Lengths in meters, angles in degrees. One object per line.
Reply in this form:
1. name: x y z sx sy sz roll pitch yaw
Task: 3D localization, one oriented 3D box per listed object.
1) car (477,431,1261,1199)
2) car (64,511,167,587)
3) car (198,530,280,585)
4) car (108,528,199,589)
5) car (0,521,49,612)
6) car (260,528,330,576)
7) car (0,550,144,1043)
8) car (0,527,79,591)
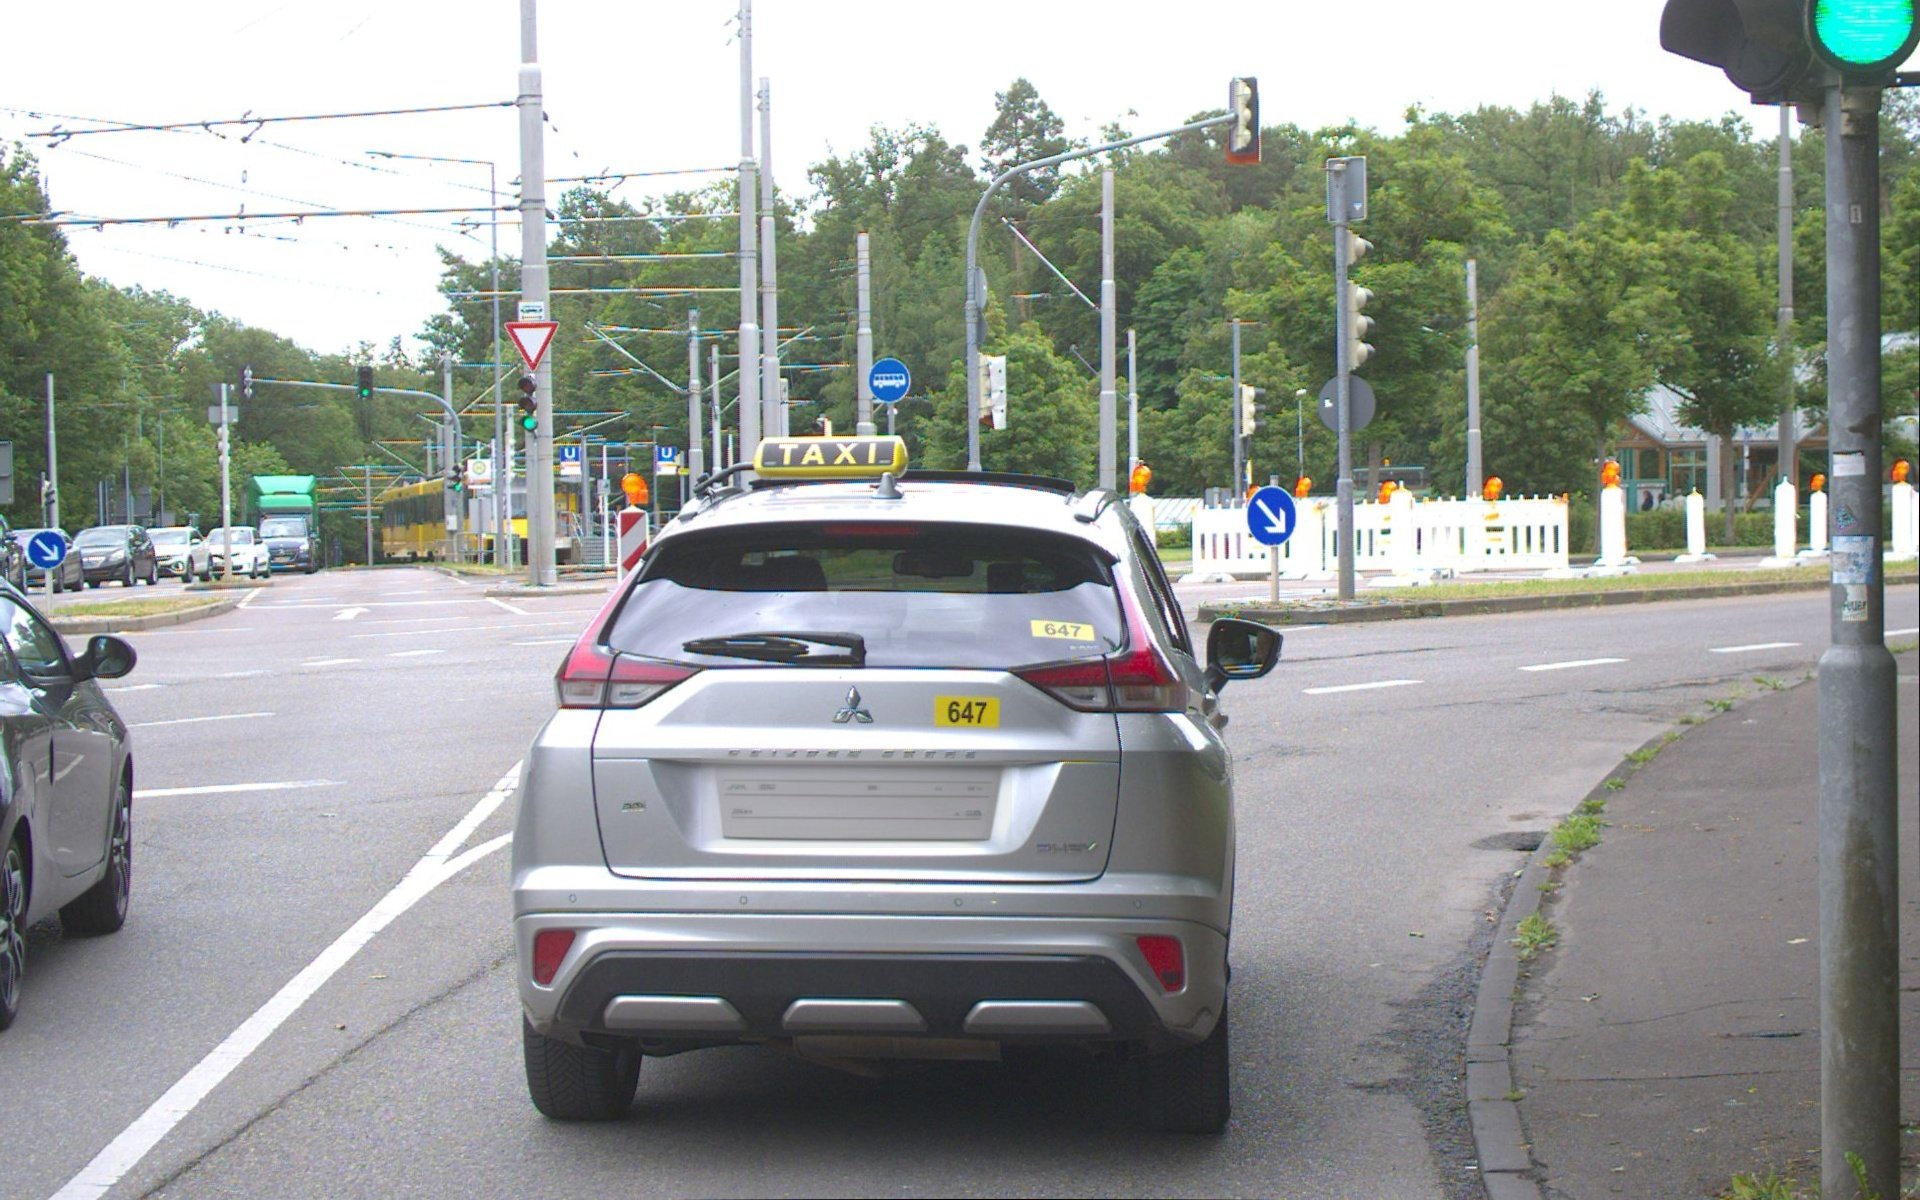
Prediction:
1. car: -0.136 0.453 9.701 1.774 1.742 3.780 0 1 2
2. car: -21.543 -1.324 87.801 1.961 1.838 4.691 -1 1 -7
3. car: -21.238 -1.263 101.411 1.961 1.536 4.397 -1 1 -7
4. car: -22.315 -1.180 95.274 1.961 1.601 4.311 -1 1 -7
5. car: -19.288 -0.673 68.220 1.961 1.744 4.847 -2 1 -11
6. car: -22.190 -1.611 114.857 1.961 1.535 4.311 -1 1 -7
7. car: -3.758 0.556 11.043 1.773 1.357 3.477 -2 1 -7
8. car: -21.072 -0.926 77.002 1.961 1.357 4.691 -1 1 -7
